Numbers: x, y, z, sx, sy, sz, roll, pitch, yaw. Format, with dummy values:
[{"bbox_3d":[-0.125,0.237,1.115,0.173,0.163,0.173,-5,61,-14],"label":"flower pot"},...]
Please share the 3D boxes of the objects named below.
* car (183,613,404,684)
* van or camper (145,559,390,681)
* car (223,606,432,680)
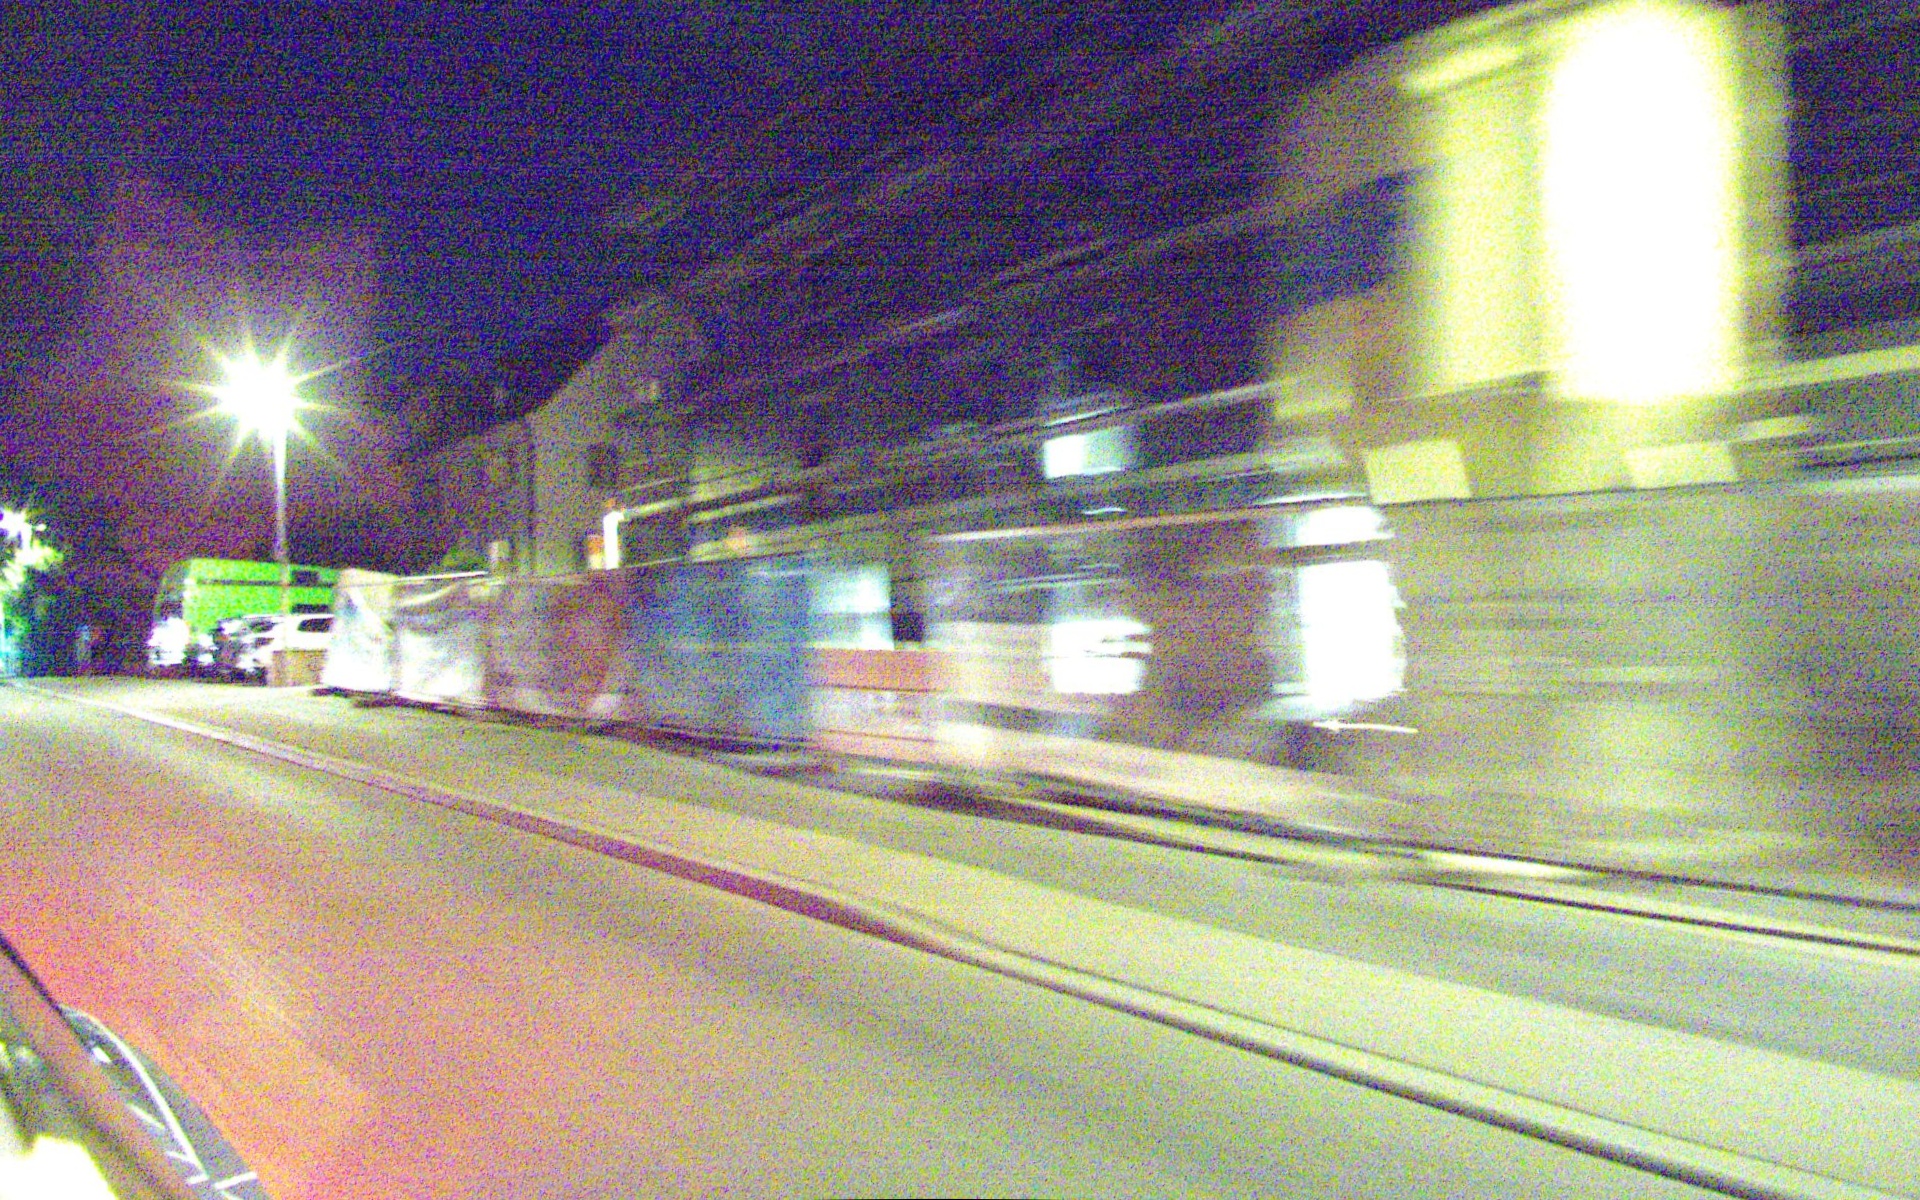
[{"bbox_3d":[-16.929,1.172,25.850,2.065,1.625,4.369,-1,-1,42],"label":"car"},{"bbox_3d":[-19.438,0.544,28.706,2.125,3.134,5.358,-1,-1,31],"label":"van or camper"},{"bbox_3d":[-14.869,0.975,23.918,1.926,1.567,3.771,-4,-2,41],"label":"car"}]
